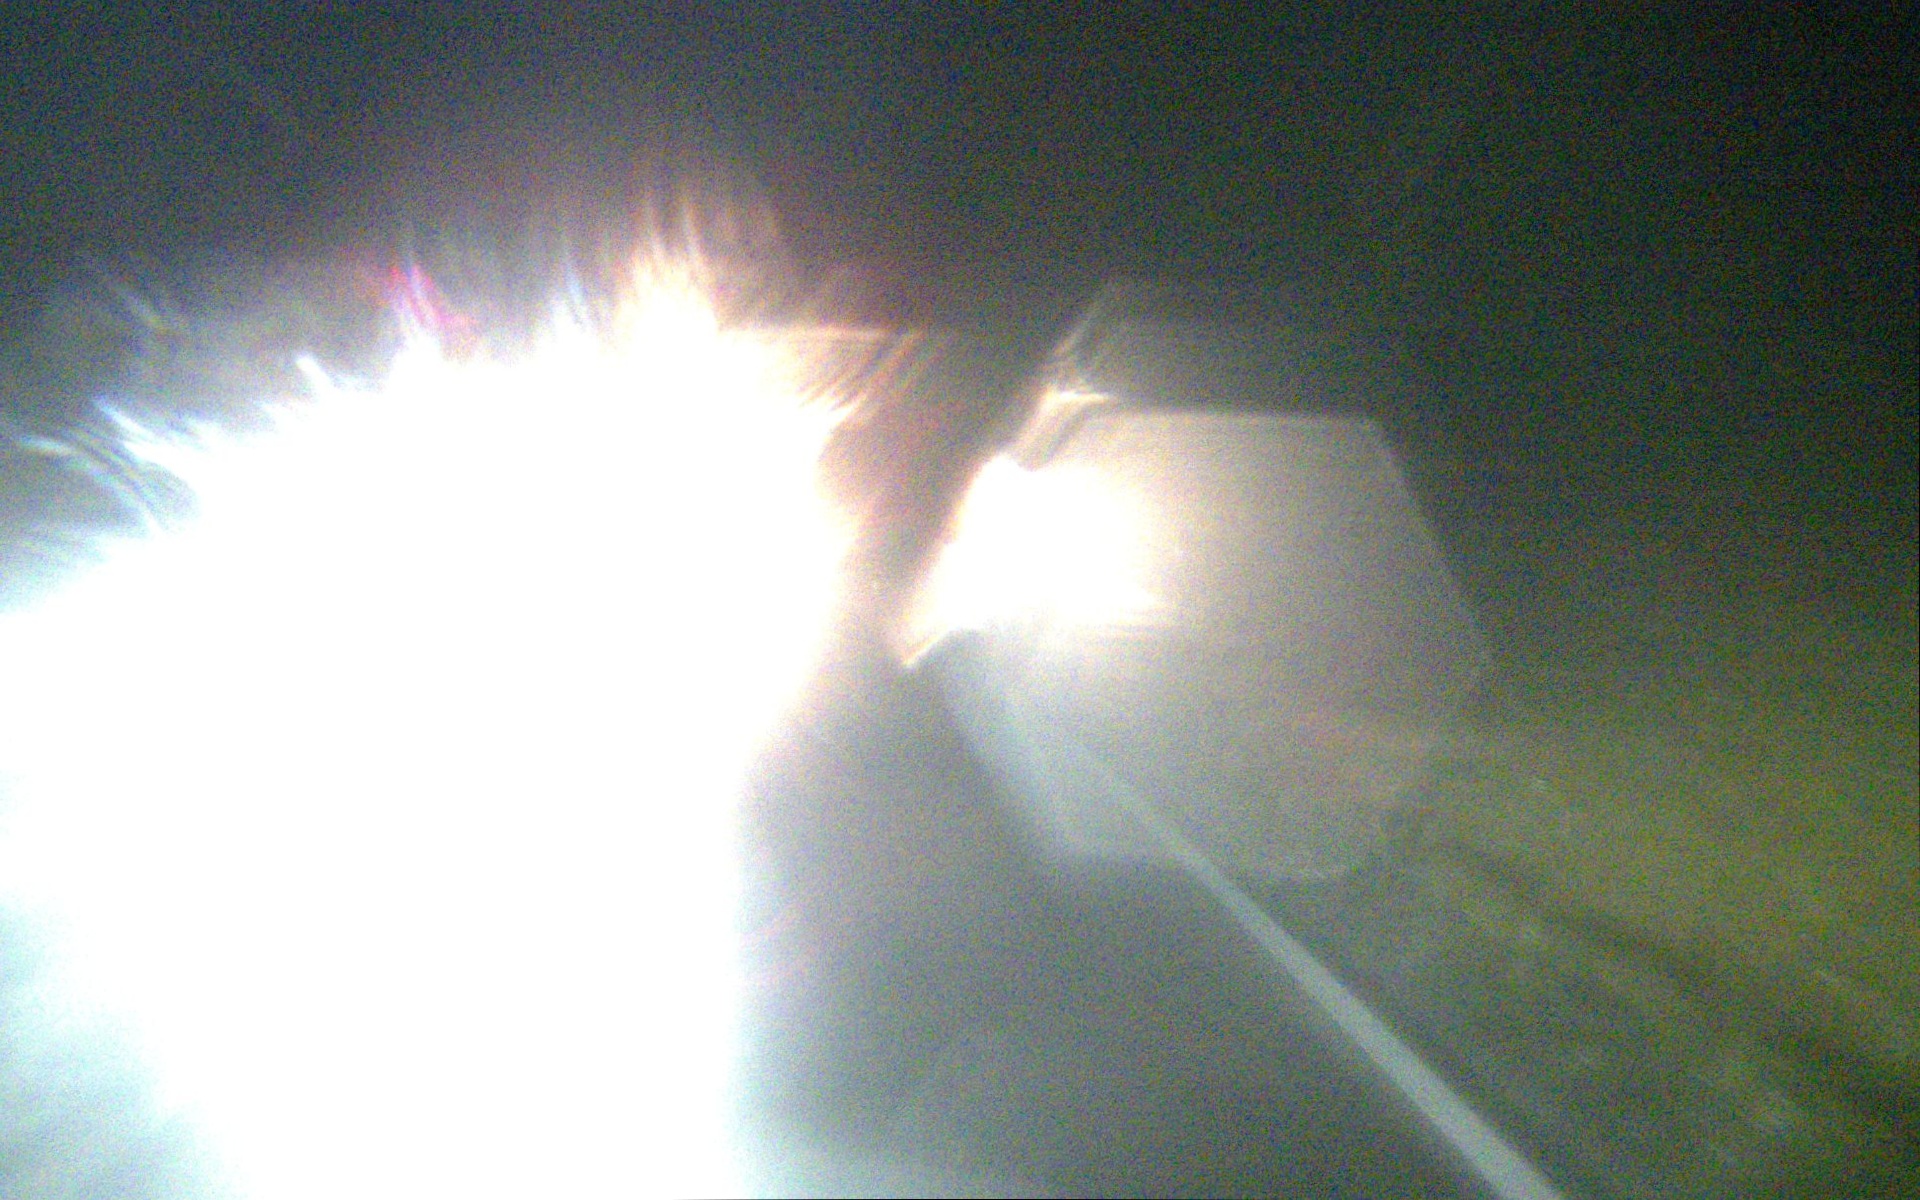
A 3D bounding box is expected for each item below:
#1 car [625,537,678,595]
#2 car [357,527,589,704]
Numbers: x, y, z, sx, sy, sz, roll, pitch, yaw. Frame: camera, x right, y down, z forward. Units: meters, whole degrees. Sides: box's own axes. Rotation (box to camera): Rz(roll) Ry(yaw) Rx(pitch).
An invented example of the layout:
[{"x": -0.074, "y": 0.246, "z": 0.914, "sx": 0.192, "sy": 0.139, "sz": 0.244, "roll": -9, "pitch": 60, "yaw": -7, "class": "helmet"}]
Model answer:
[{"x": -12.514, "y": -1.395, "z": 139.774, "sx": 1.993, "sy": 2.265, "sz": 5.468, "roll": 1, "pitch": 1, "yaw": -4, "class": "car"}, {"x": -4.966, "y": 0.111, "z": 35.543, "sx": 1.926, "sy": 1.698, "sz": 4.001, "roll": 1, "pitch": 1, "yaw": -2, "class": "car"}]
